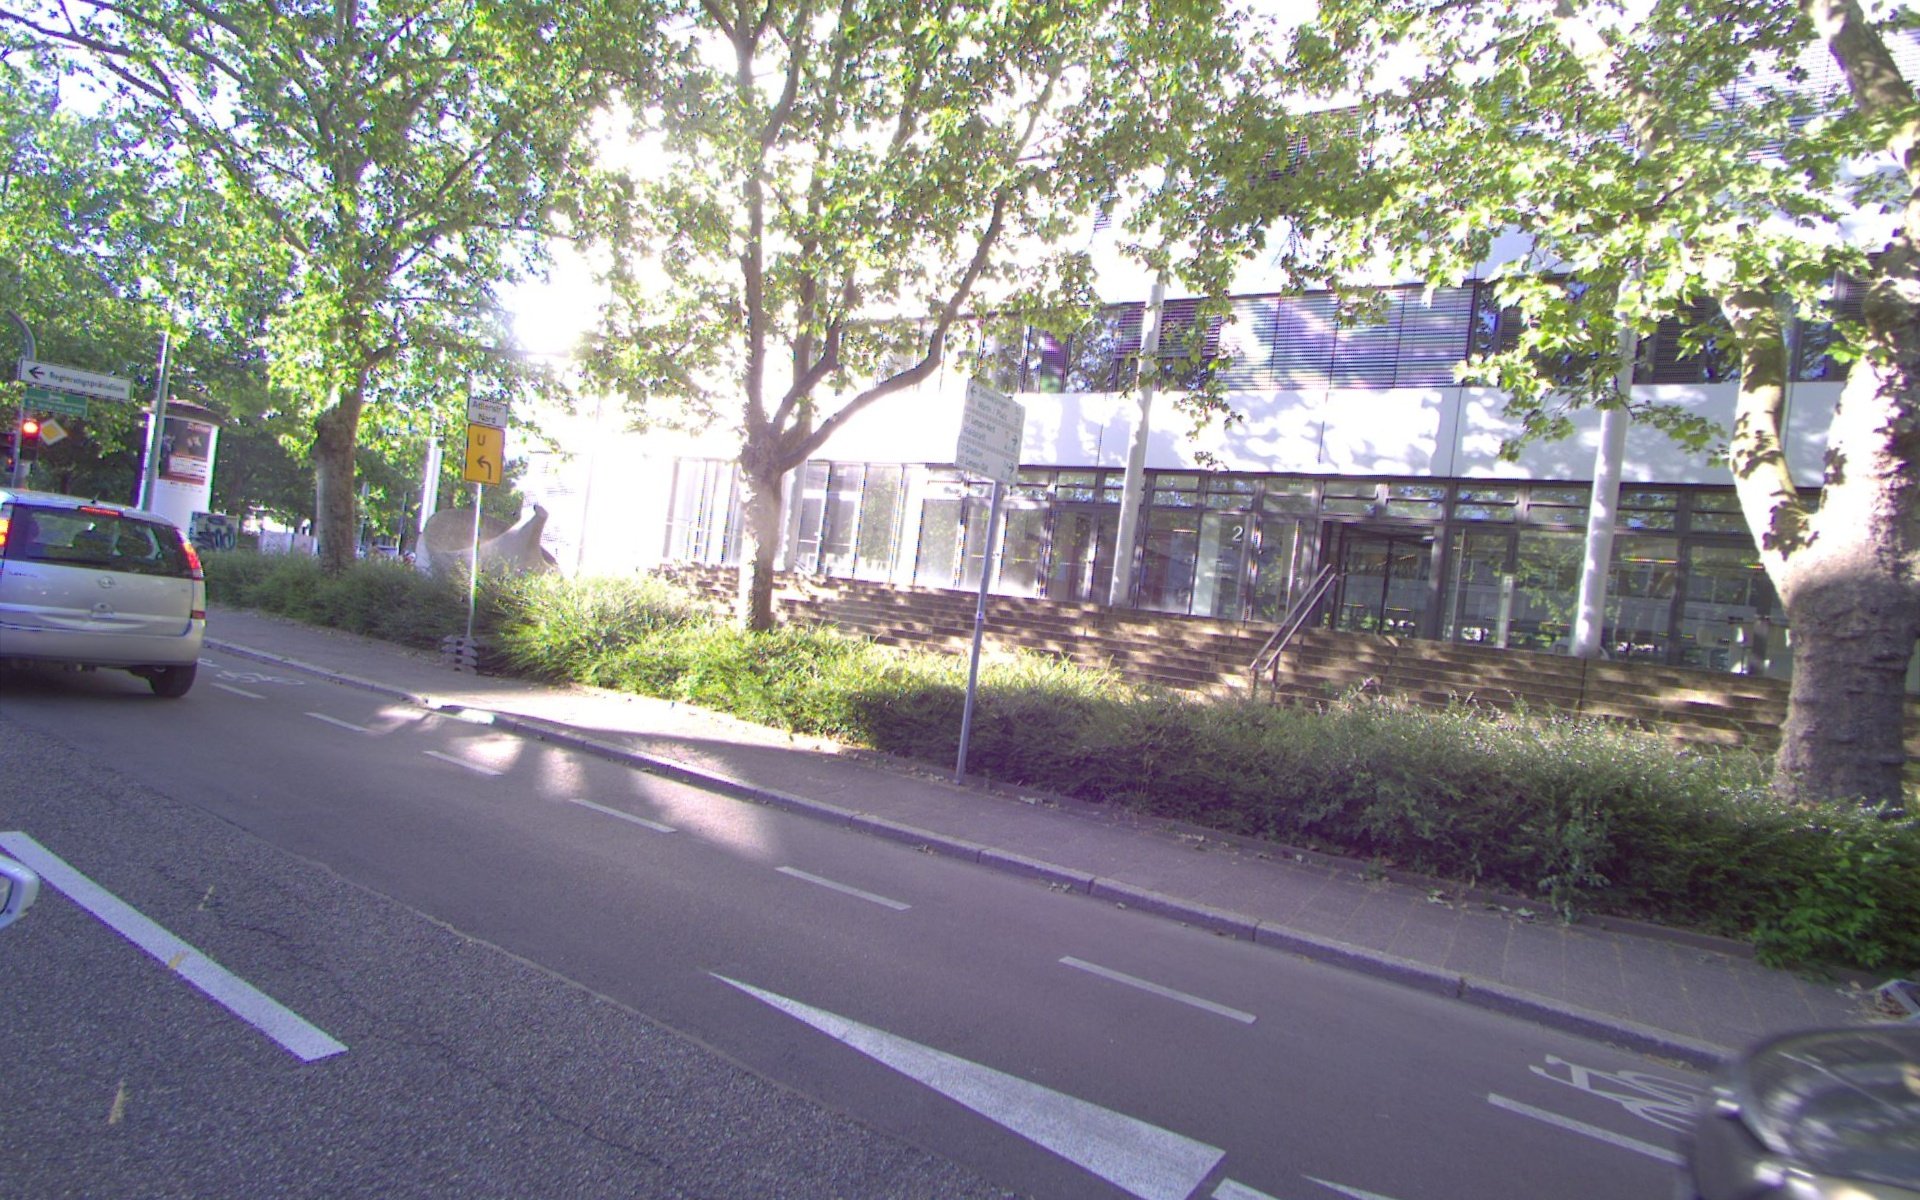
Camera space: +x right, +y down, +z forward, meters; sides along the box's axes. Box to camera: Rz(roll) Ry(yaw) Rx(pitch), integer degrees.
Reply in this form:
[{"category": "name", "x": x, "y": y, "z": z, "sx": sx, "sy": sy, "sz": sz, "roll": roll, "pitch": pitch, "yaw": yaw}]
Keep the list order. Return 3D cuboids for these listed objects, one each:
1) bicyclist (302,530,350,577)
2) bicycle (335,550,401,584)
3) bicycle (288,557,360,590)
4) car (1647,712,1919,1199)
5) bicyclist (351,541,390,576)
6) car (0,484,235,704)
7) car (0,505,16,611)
[{"category": "bicyclist", "x": -22.666, "y": -1.665, "z": 35.974, "sx": 0.700, "sy": 1.508, "sz": 1.118, "roll": 7, "pitch": -1, "yaw": 31}, {"category": "bicycle", "x": -22.422, "y": -1.239, "z": 38.149, "sx": 0.641, "sy": 1.040, "sz": 1.983, "roll": 7, "pitch": -1, "yaw": 32}, {"category": "bicycle", "x": -22.741, "y": -0.942, "z": 35.990, "sx": 0.721, "sy": 0.914, "sz": 1.990, "roll": 7, "pitch": -1, "yaw": 30}, {"category": "car", "x": 3.361, "y": 1.210, "z": 1.341, "sx": 3.914, "sy": 1.499, "sz": 1.645, "roll": 7, "pitch": -1, "yaw": 36}, {"category": "bicyclist", "x": -22.364, "y": -1.582, "z": 38.161, "sx": 0.610, "sy": 1.168, "sz": 0.992, "roll": 7, "pitch": -1, "yaw": 33}, {"category": "car", "x": -8.417, "y": -0.169, "z": 9.073, "sx": 3.797, "sy": 1.621, "sz": 1.704, "roll": 7, "pitch": -1, "yaw": 34}, {"category": "car", "x": -13.988, "y": -0.726, "z": 12.598, "sx": 4.592, "sy": 1.481, "sz": 1.917, "roll": 7, "pitch": -3, "yaw": 32}]
